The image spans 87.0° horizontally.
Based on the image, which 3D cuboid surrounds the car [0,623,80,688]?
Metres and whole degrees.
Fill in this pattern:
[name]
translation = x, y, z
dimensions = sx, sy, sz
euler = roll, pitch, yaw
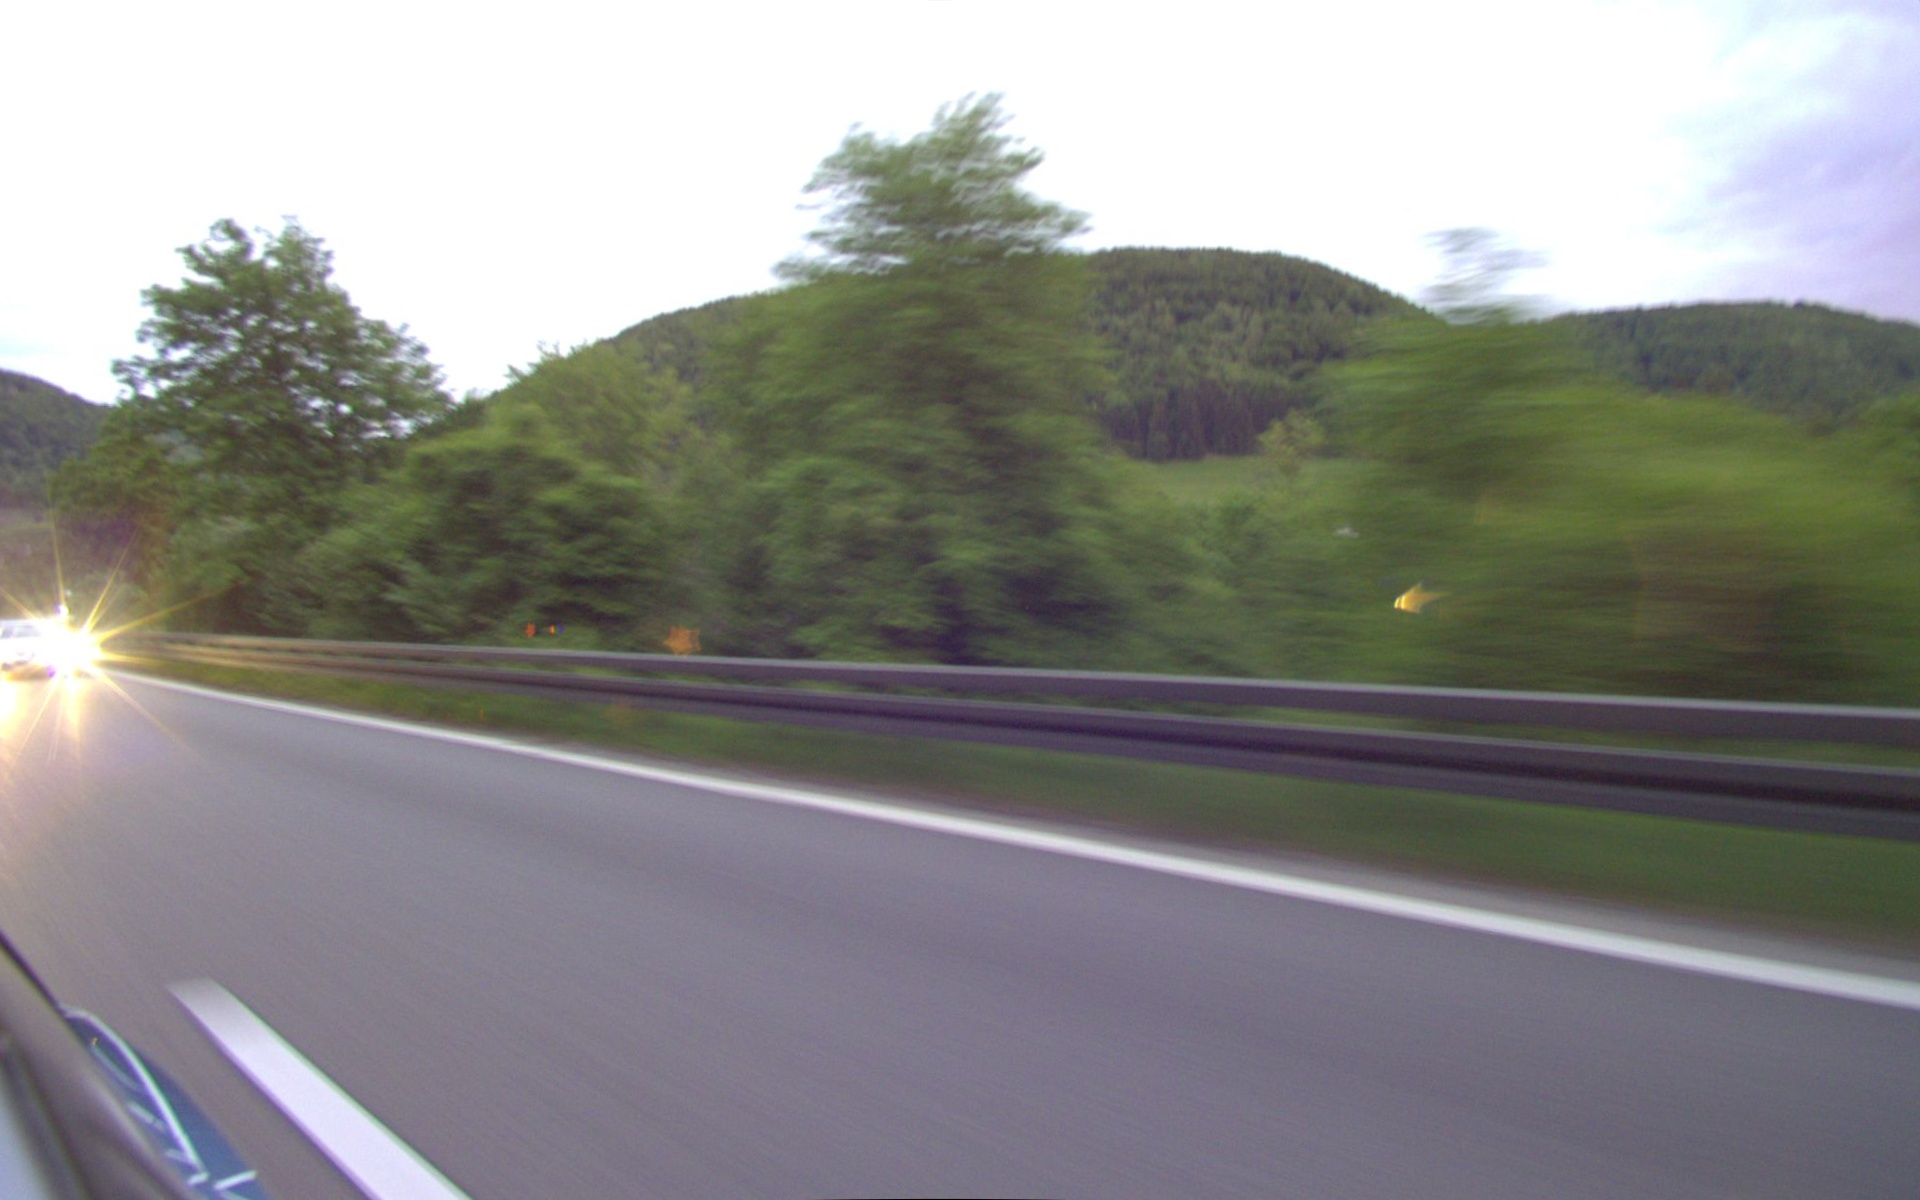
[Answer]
[car]
translation = -23.434, 1.347, 25.318
dimensions = 3.766, 1.479, 1.668
euler = -1, 0, 42
